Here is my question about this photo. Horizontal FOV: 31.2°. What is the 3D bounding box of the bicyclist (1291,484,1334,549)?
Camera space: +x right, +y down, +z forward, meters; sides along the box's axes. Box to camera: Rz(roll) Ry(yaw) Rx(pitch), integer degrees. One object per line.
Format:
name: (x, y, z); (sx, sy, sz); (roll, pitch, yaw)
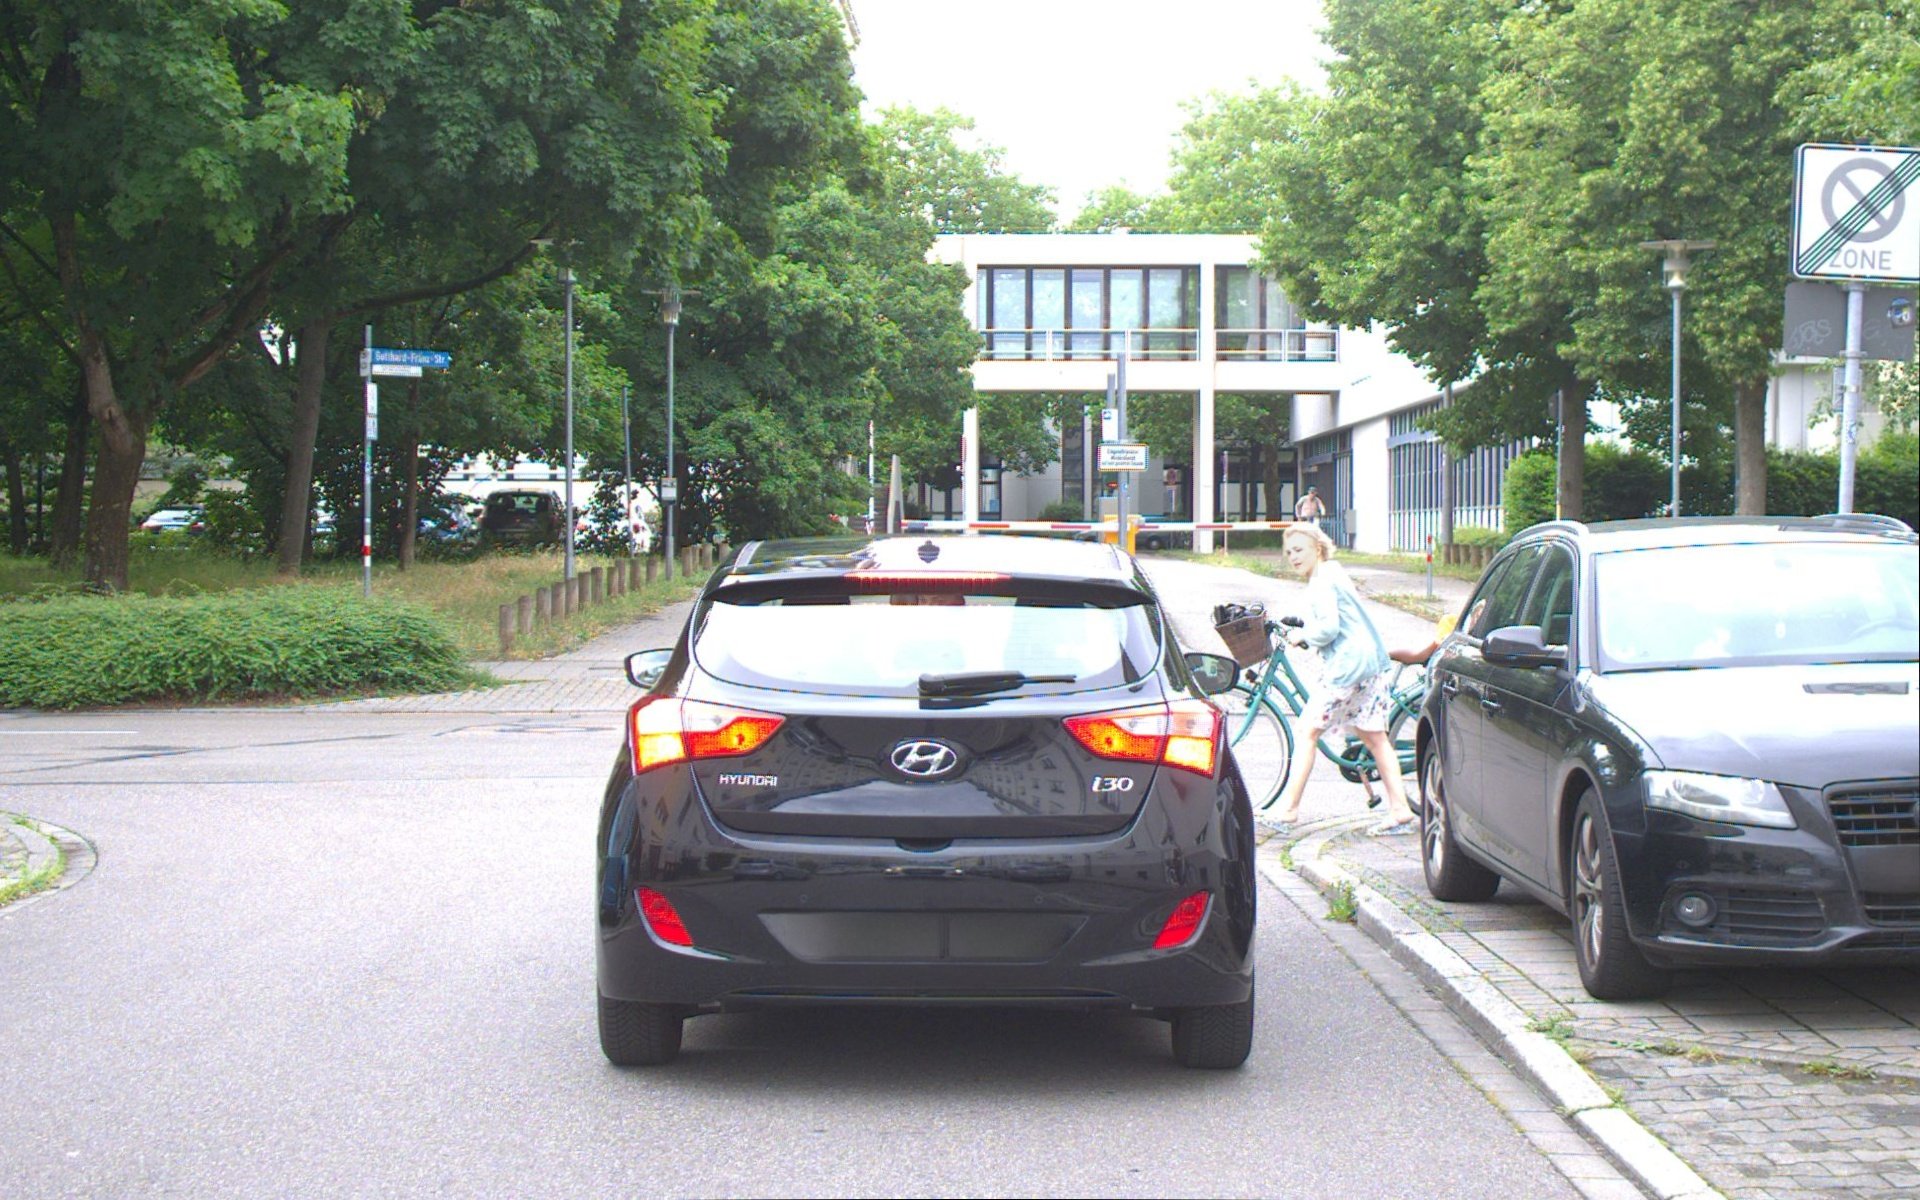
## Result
bicyclist: (9.048, -2.145, 88.253); (1.017, 1.639, 0.923); (0, 2, 1)

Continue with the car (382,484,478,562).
car: (-12.847, -1.845, 83.535); (1.993, 1.788, 4.000); (0, 0, -4)

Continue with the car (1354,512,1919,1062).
car: (2.628, 0.445, 11.672); (1.860, 1.457, 4.726); (-1, 2, -2)

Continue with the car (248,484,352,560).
car: (-15.954, -1.870, 83.232); (1.993, 1.722, 4.000); (0, 0, -4)

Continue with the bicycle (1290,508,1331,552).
bicycle: (8.970, -1.800, 88.118); (0.866, 1.071, 2.142); (0, 2, 1)

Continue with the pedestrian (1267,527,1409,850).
pedestrian: (1.853, 0.426, 16.889); (0.566, 1.544, 0.448); (-2, 2, -7)

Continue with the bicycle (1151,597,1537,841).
bicycle: (1.917, 0.582, 17.223); (1.812, 1.115, 0.538); (-2, 2, -8)

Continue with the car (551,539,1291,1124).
car: (-0.173, 0.551, 10.542); (1.846, 1.457, 3.828); (0, 1, -2)

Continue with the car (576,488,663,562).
car: (-8.251, -1.801, 83.560); (1.993, 1.756, 4.001); (0, 1, -4)

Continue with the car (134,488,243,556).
car: (-18.675, -1.895, 83.322); (1.993, 1.612, 4.001); (0, 1, -4)
